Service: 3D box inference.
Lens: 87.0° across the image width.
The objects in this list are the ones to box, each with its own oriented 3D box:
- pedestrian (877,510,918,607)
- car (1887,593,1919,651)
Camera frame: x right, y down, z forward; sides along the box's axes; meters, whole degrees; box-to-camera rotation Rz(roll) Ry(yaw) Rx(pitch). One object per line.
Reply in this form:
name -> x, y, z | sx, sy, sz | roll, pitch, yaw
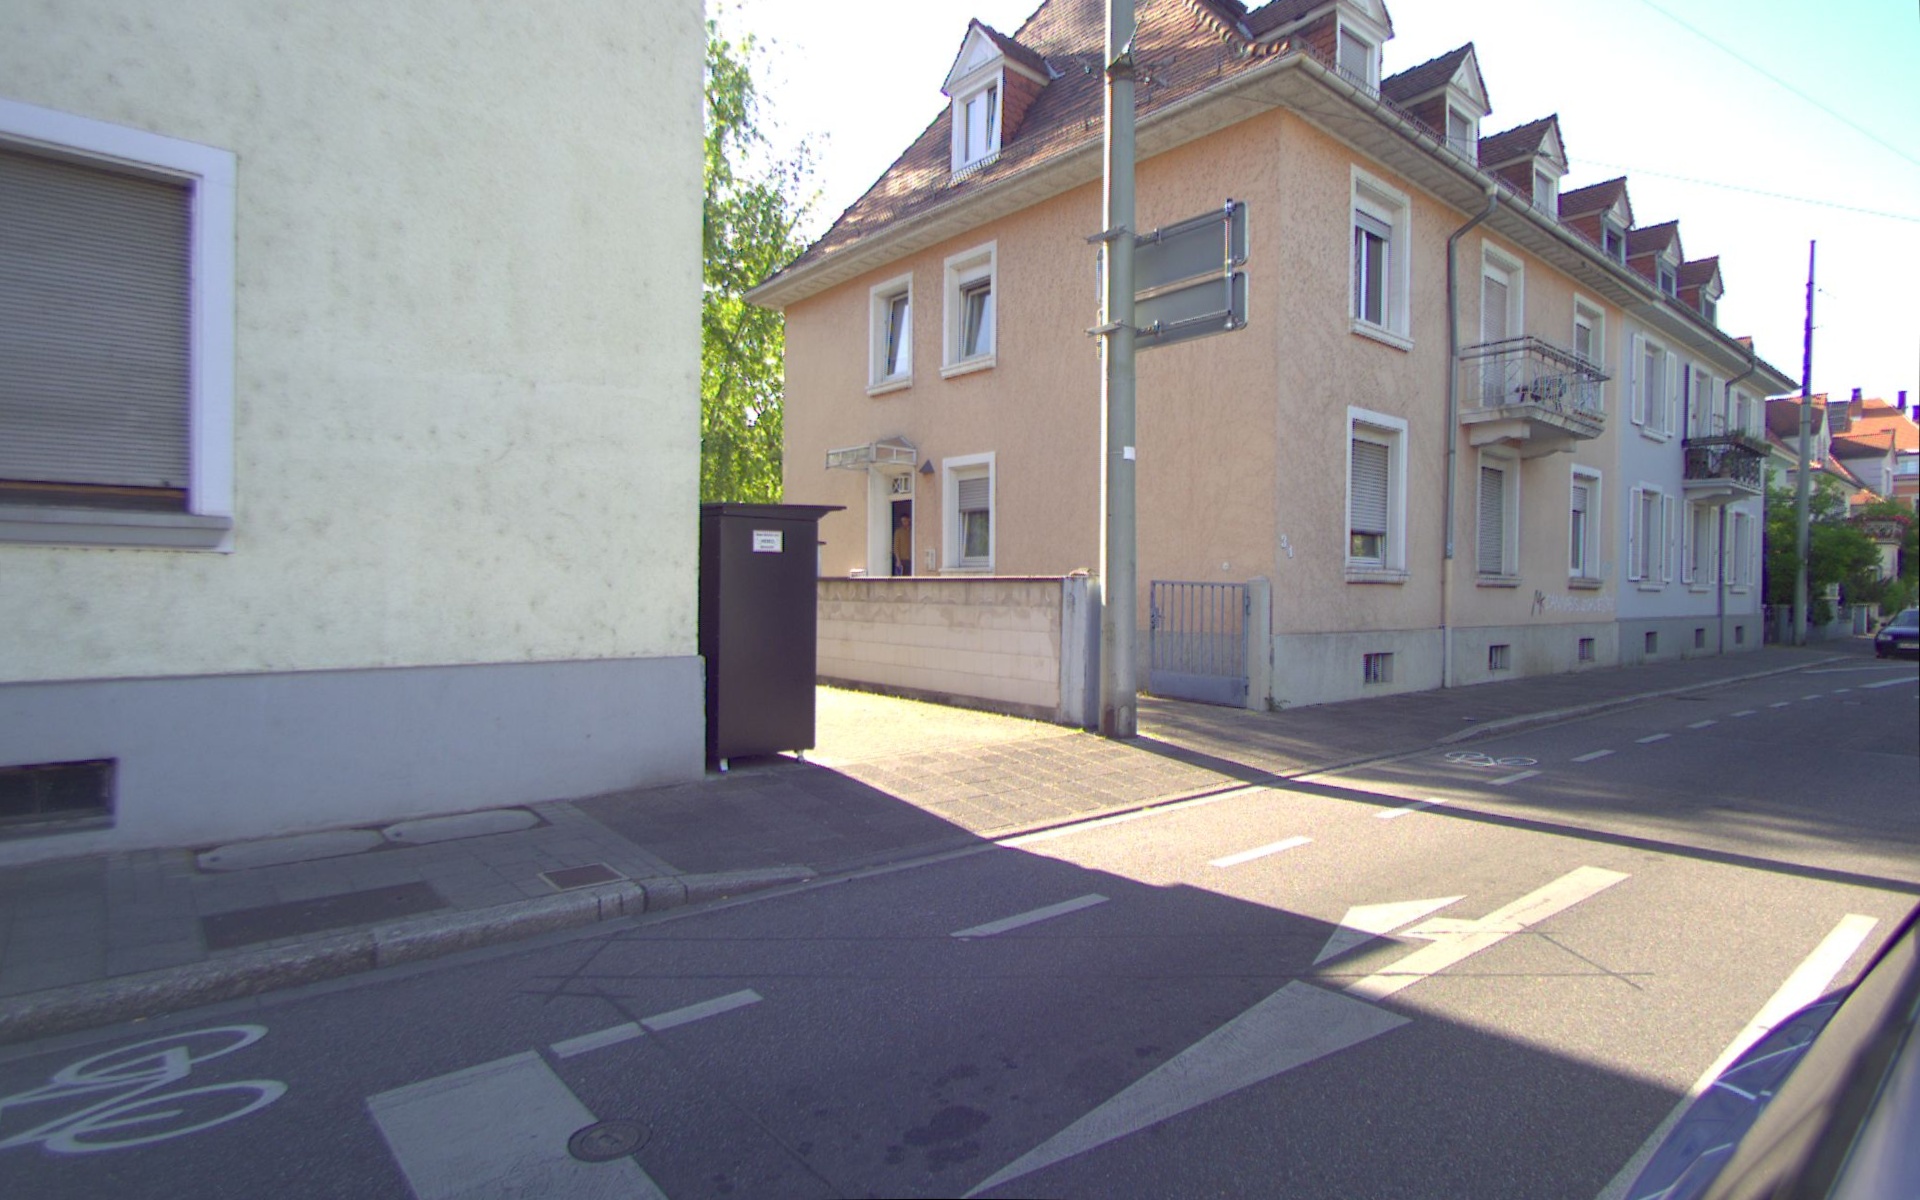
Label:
pedestrian -> -1.157, -0.764, 18.836 | 0.596, 1.783, 0.482 | 1, 0, 25
car -> 26.856, 0.589, 27.388 | 3.925, 1.504, 1.883 | 0, 1, -37
